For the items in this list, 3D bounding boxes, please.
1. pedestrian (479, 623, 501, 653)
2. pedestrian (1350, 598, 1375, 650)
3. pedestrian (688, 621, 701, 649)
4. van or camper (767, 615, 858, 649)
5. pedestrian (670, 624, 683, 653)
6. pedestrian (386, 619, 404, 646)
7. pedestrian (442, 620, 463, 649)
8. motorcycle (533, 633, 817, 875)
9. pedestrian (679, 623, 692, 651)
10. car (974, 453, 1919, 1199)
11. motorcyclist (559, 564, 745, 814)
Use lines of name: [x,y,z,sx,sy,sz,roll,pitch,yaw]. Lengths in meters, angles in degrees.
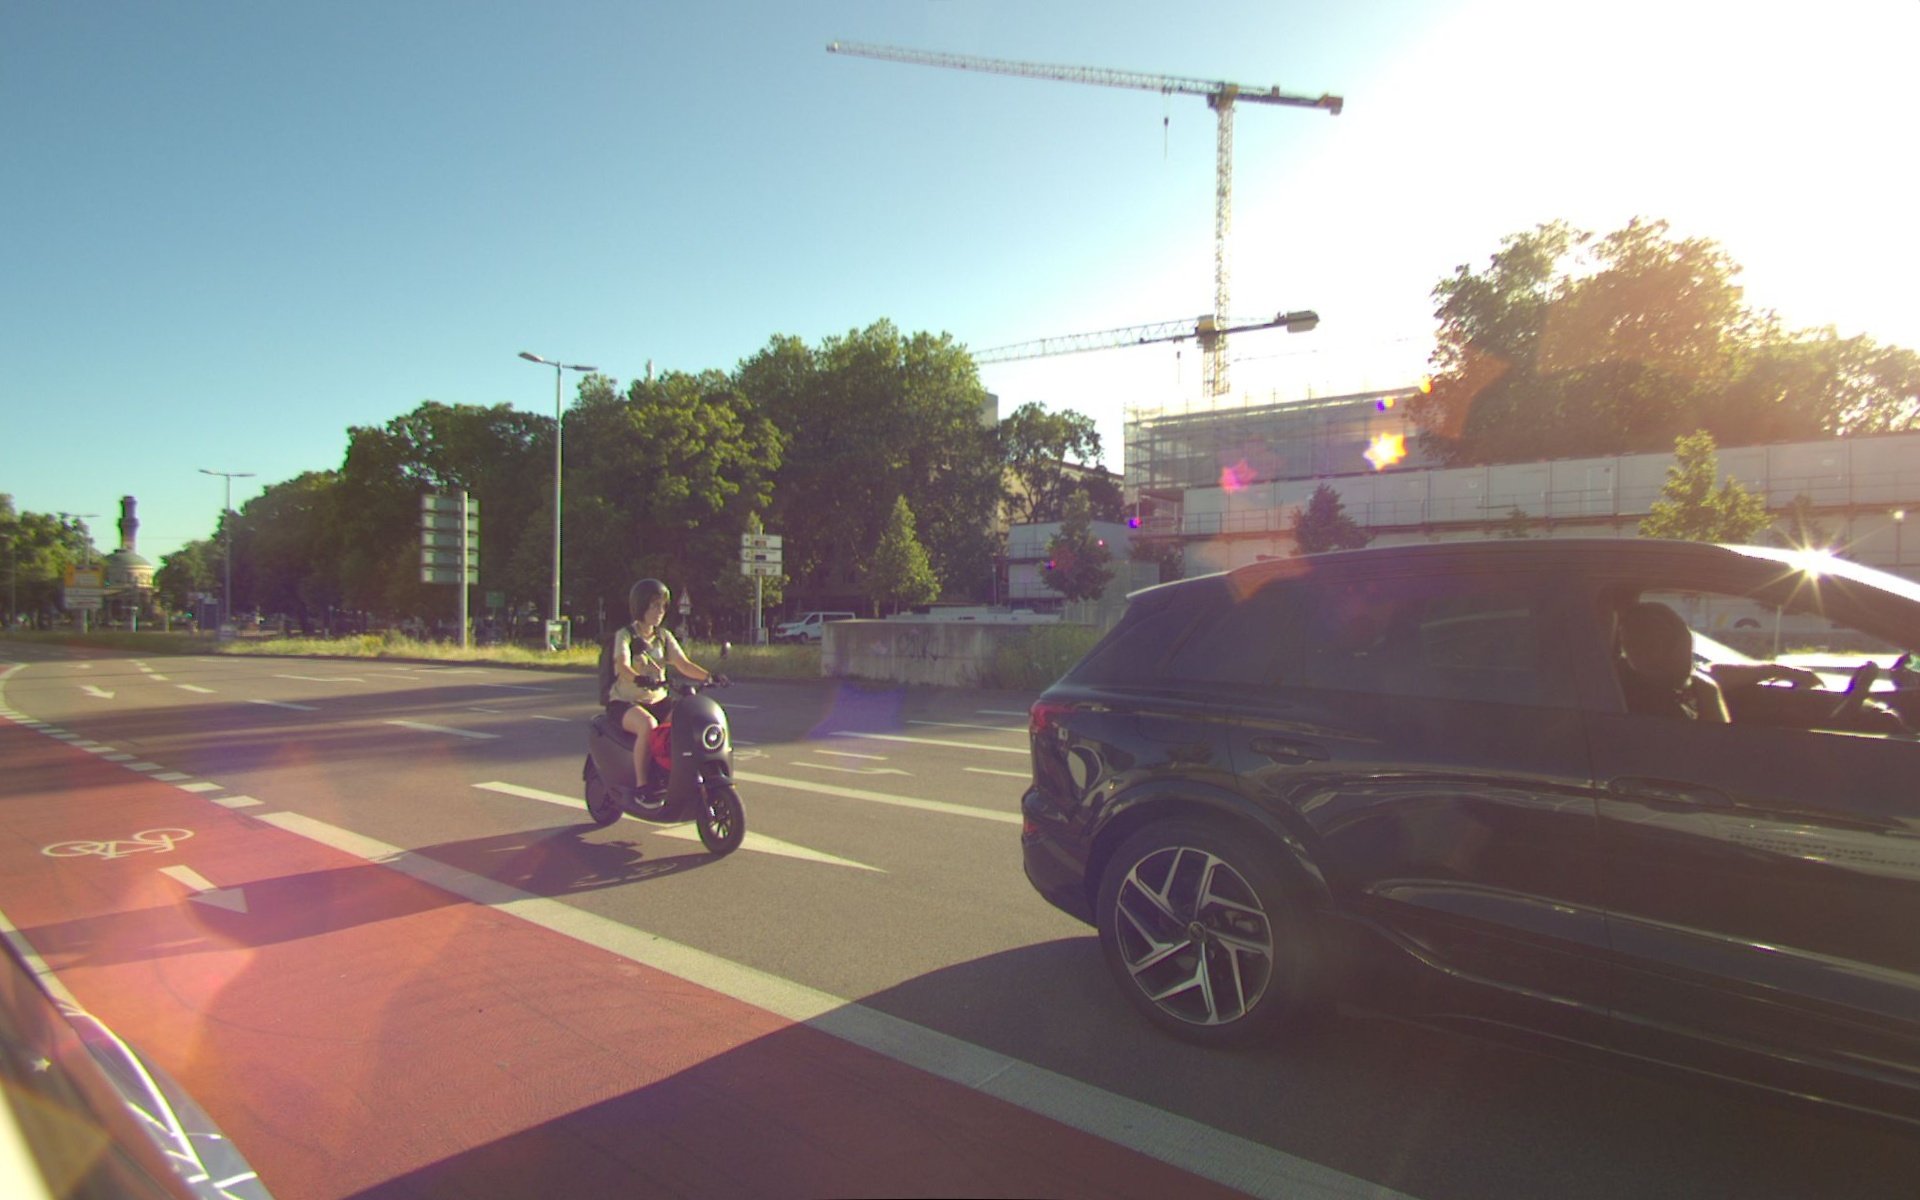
pedestrian: [-32.289,2.584,69.483,0.815,1.978,1.111,-1,0,41]
pedestrian: [12.858,0.764,32.340,0.597,1.614,0.580,-1,0,38]
pedestrian: [-14.618,1.922,55.708,0.494,1.522,0.492,-1,-2,41]
van or camper: [-8.966,1.930,61.895,1.951,1.960,5.425,-2,-2,44]
pedestrian: [-15.270,2.059,54.516,0.494,1.522,0.492,-1,-2,41]
pedestrian: [-44.089,2.535,78.956,0.942,2.029,0.842,-1,0,-10]
pedestrian: [-36.468,2.469,72.709,1.054,1.978,0.942,-1,0,26]
motorcycle: [-1.858,0.862,6.436,1.943,1.290,0.817,-1,-2,41]
pedestrian: [-14.935,2.015,55.054,0.494,1.522,0.492,-1,-2,41]
car: [2.533,0.549,3.229,4.659,1.720,2.144,-1,-1,39]
motorcyclist: [-1.998,0.537,6.573,0.877,1.475,0.813,-1,-2,41]
